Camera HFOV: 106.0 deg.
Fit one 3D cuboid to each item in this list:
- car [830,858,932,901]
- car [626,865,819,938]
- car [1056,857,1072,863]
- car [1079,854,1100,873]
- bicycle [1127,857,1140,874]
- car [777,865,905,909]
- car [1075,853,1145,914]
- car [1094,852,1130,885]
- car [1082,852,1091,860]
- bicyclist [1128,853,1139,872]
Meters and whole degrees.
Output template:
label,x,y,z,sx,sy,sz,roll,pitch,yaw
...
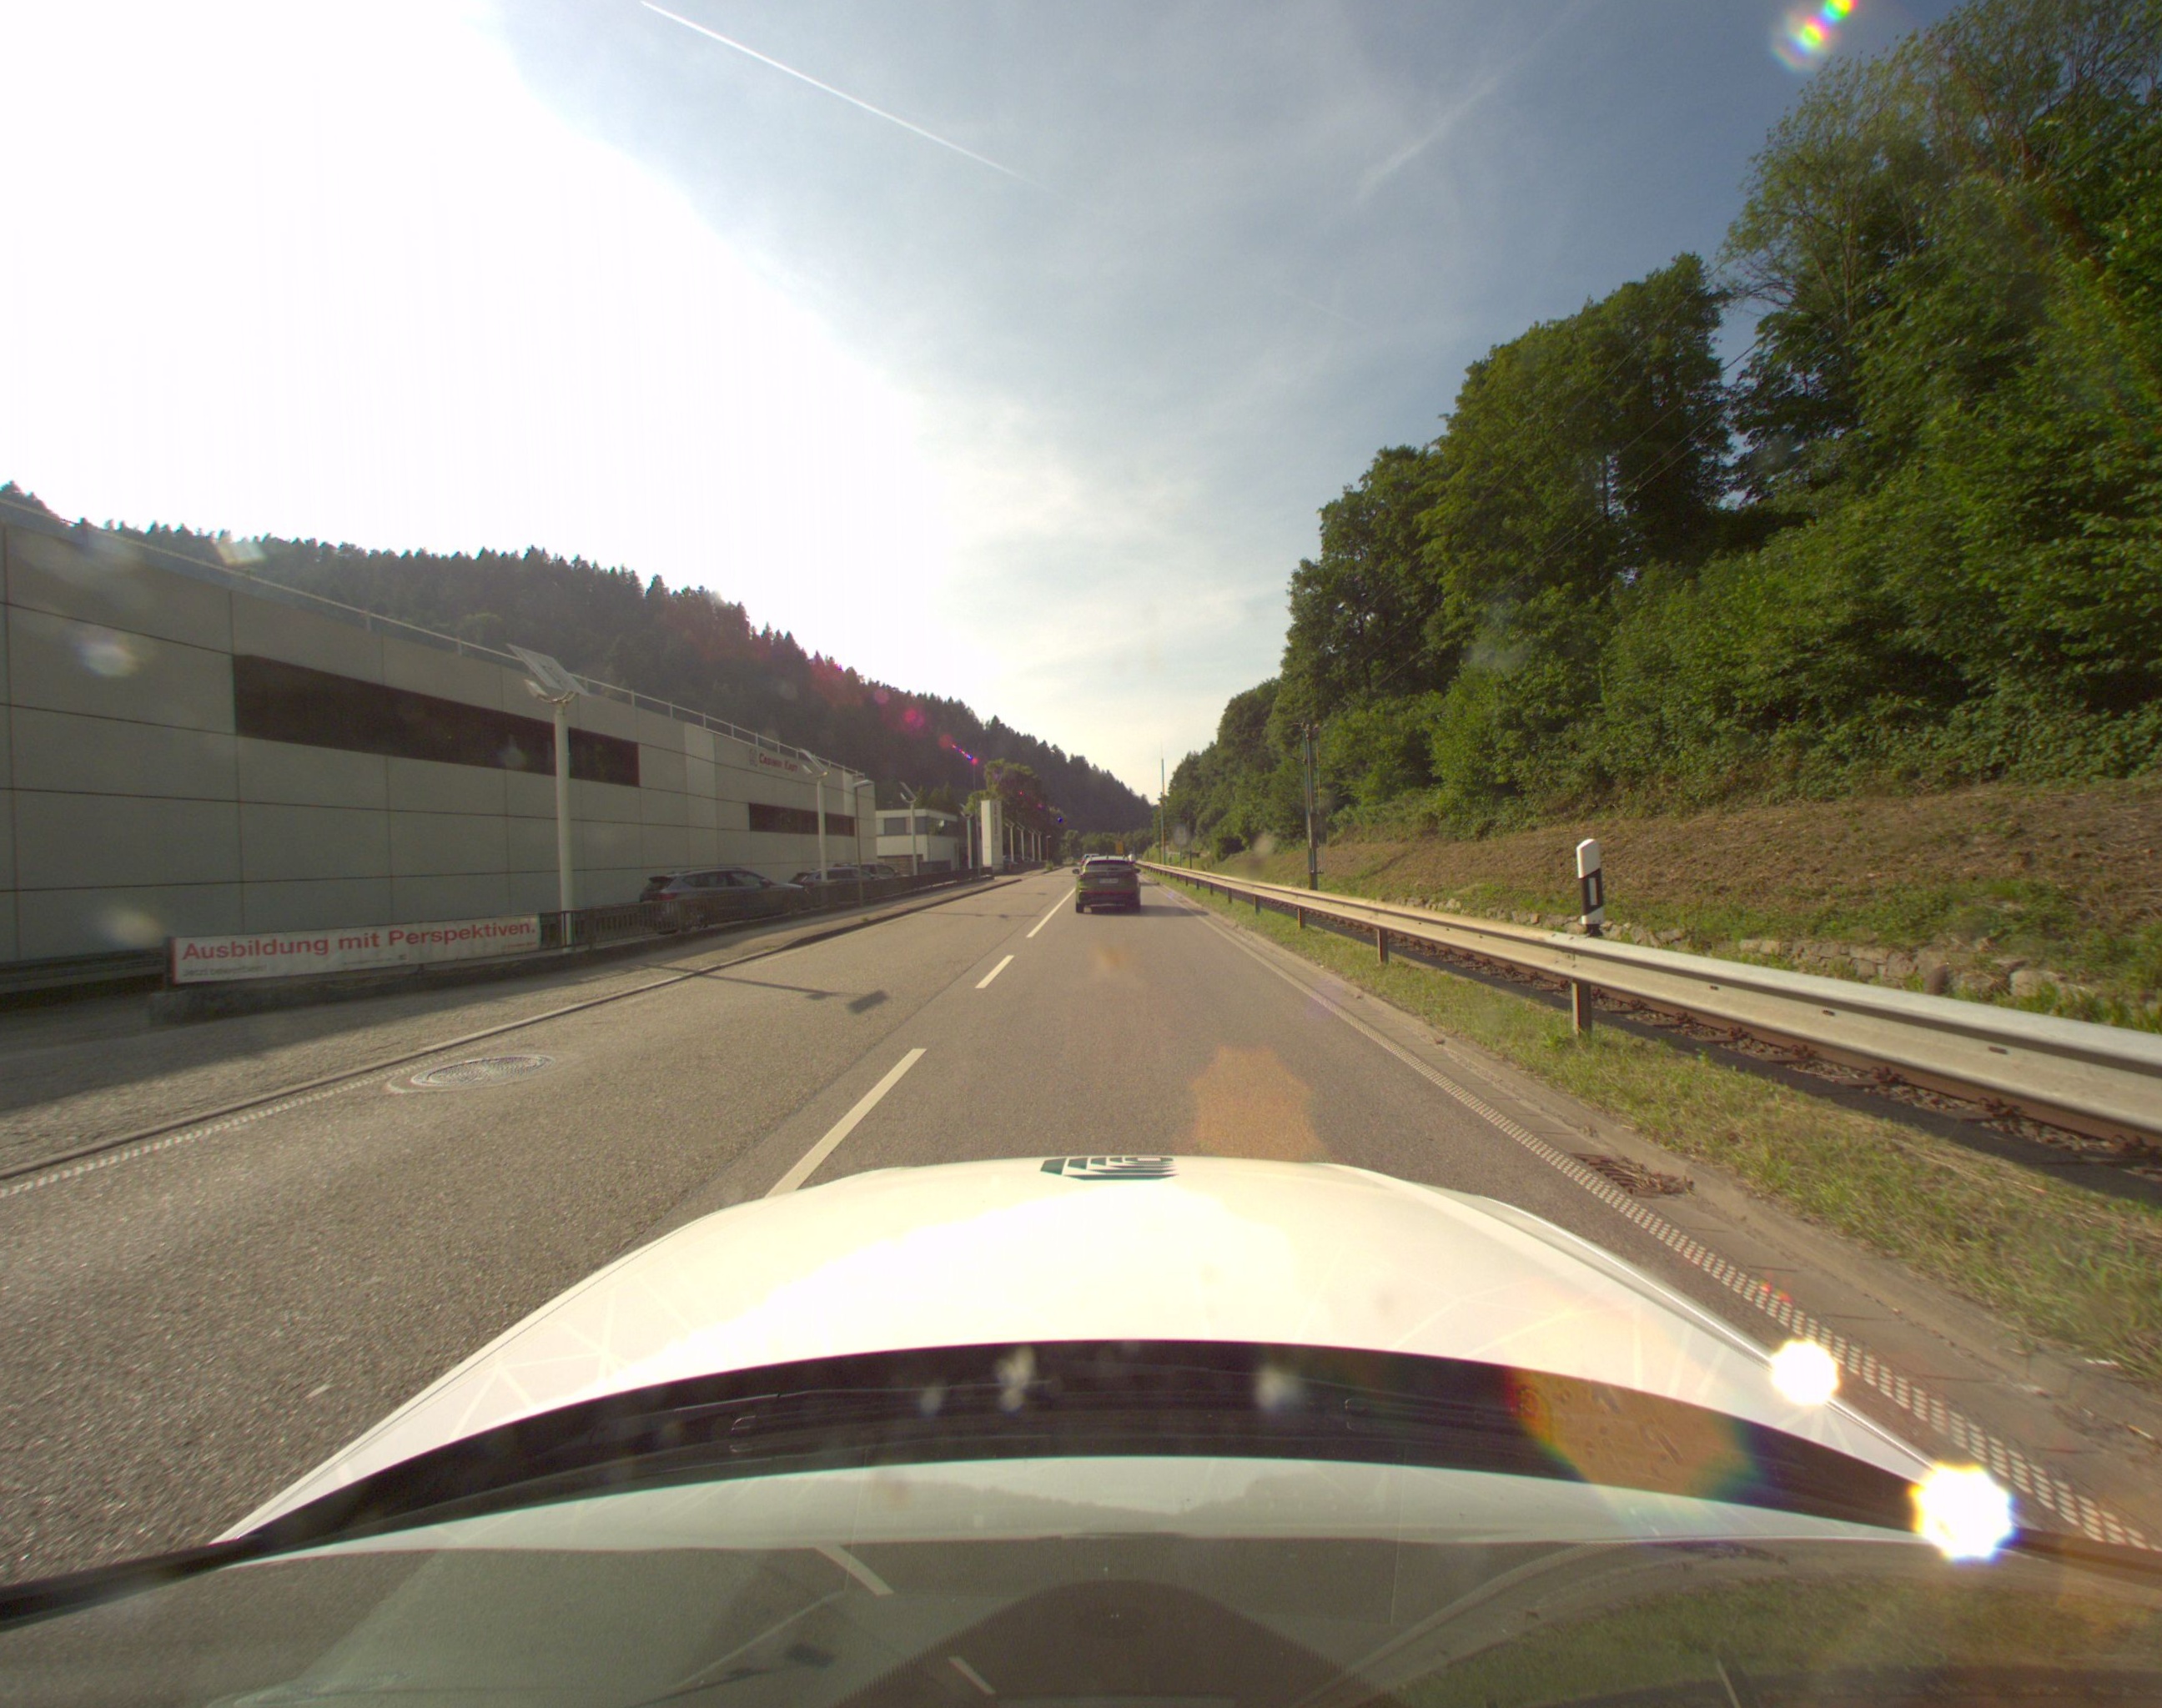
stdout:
label,x,y,z,sx,sy,sz,roll,pitch,yaw
car,-8.967,1.108,36.657,1.759,1.708,4.135,-2,0,43
car,-9.276,1.166,21.317,1.865,1.592,4.200,-2,0,43
car,-4.579,1.555,219.182,4.242,1.433,1.558,-2,0,2
car,0.778,0.821,70.900,1.733,1.602,4.000,-1,0,1
bicycle,4.047,0.843,62.511,0.809,1.250,2.122,-2,0,0
car,-9.439,1.254,32.316,1.865,1.495,4.516,-2,0,43
car,0.778,0.764,22.720,1.733,1.508,4.000,-1,0,1
car,1.563,0.709,42.163,1.733,1.602,4.000,-1,0,1
car,1.141,0.426,170.268,1.671,1.485,4.247,0,0,2
bicyclist,4.054,0.679,62.733,0.779,1.412,0.675,-2,0,-1
